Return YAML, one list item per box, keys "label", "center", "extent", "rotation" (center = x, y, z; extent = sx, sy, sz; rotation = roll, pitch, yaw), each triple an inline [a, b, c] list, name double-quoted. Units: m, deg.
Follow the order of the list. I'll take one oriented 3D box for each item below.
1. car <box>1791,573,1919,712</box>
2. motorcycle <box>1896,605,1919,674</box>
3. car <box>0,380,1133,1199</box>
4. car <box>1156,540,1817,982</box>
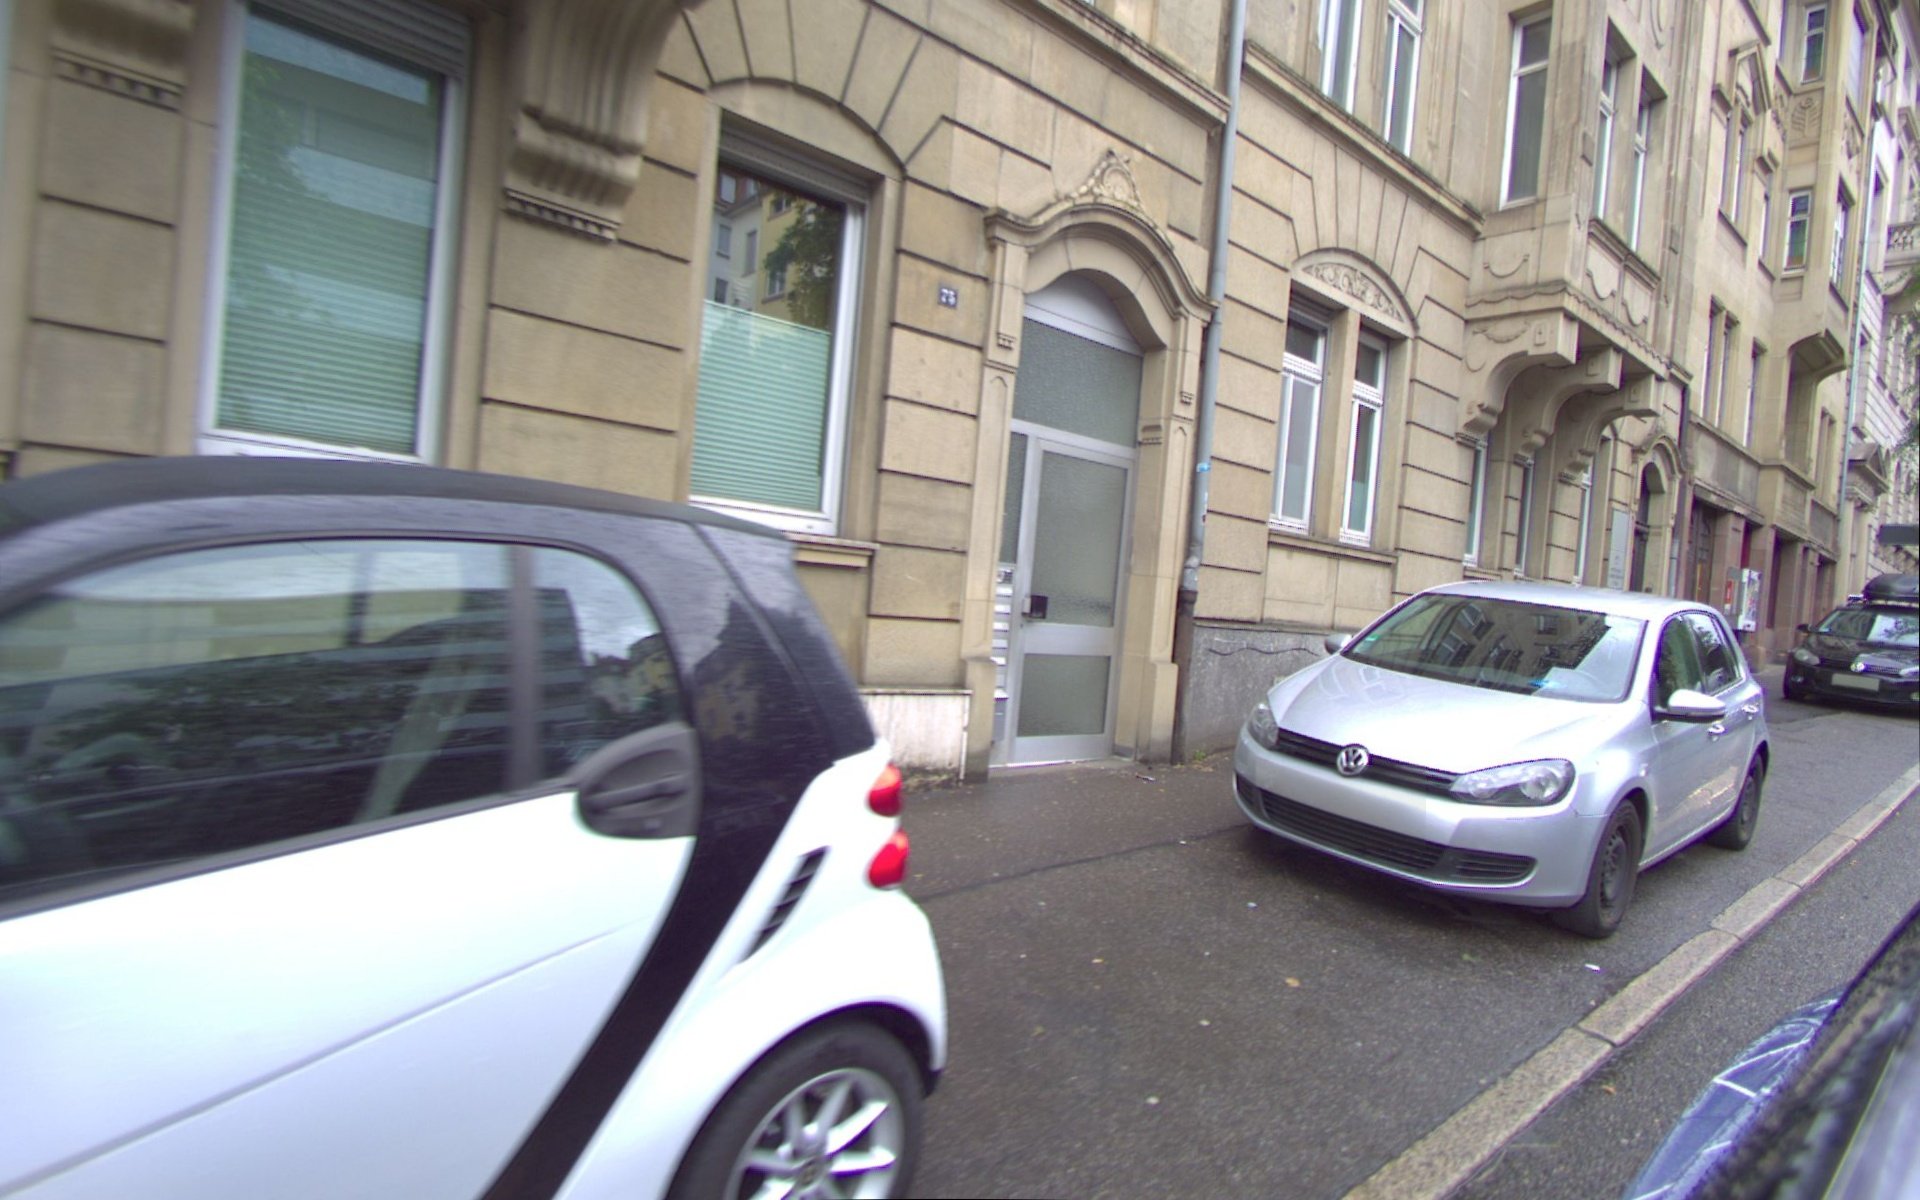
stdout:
- label: "car"
  center: [13.817, 0.587, 14.735]
  extent: [4.025, 1.670, 1.765]
  rotation: [1, 6, -40]
- label: "motorcycle"
  center: [19.127, 0.839, 19.132]
  extent: [2.233, 1.258, 0.525]
  rotation: [5, 3, 0]
- label: "car"
  center: [-1.196, 0.469, 1.859]
  extent: [2.923, 1.561, 1.303]
  rotation: [1, 6, -41]
- label: "car"
  center: [3.074, 0.560, 5.564]
  extent: [3.929, 1.468, 1.765]
  rotation: [1, 6, -41]
